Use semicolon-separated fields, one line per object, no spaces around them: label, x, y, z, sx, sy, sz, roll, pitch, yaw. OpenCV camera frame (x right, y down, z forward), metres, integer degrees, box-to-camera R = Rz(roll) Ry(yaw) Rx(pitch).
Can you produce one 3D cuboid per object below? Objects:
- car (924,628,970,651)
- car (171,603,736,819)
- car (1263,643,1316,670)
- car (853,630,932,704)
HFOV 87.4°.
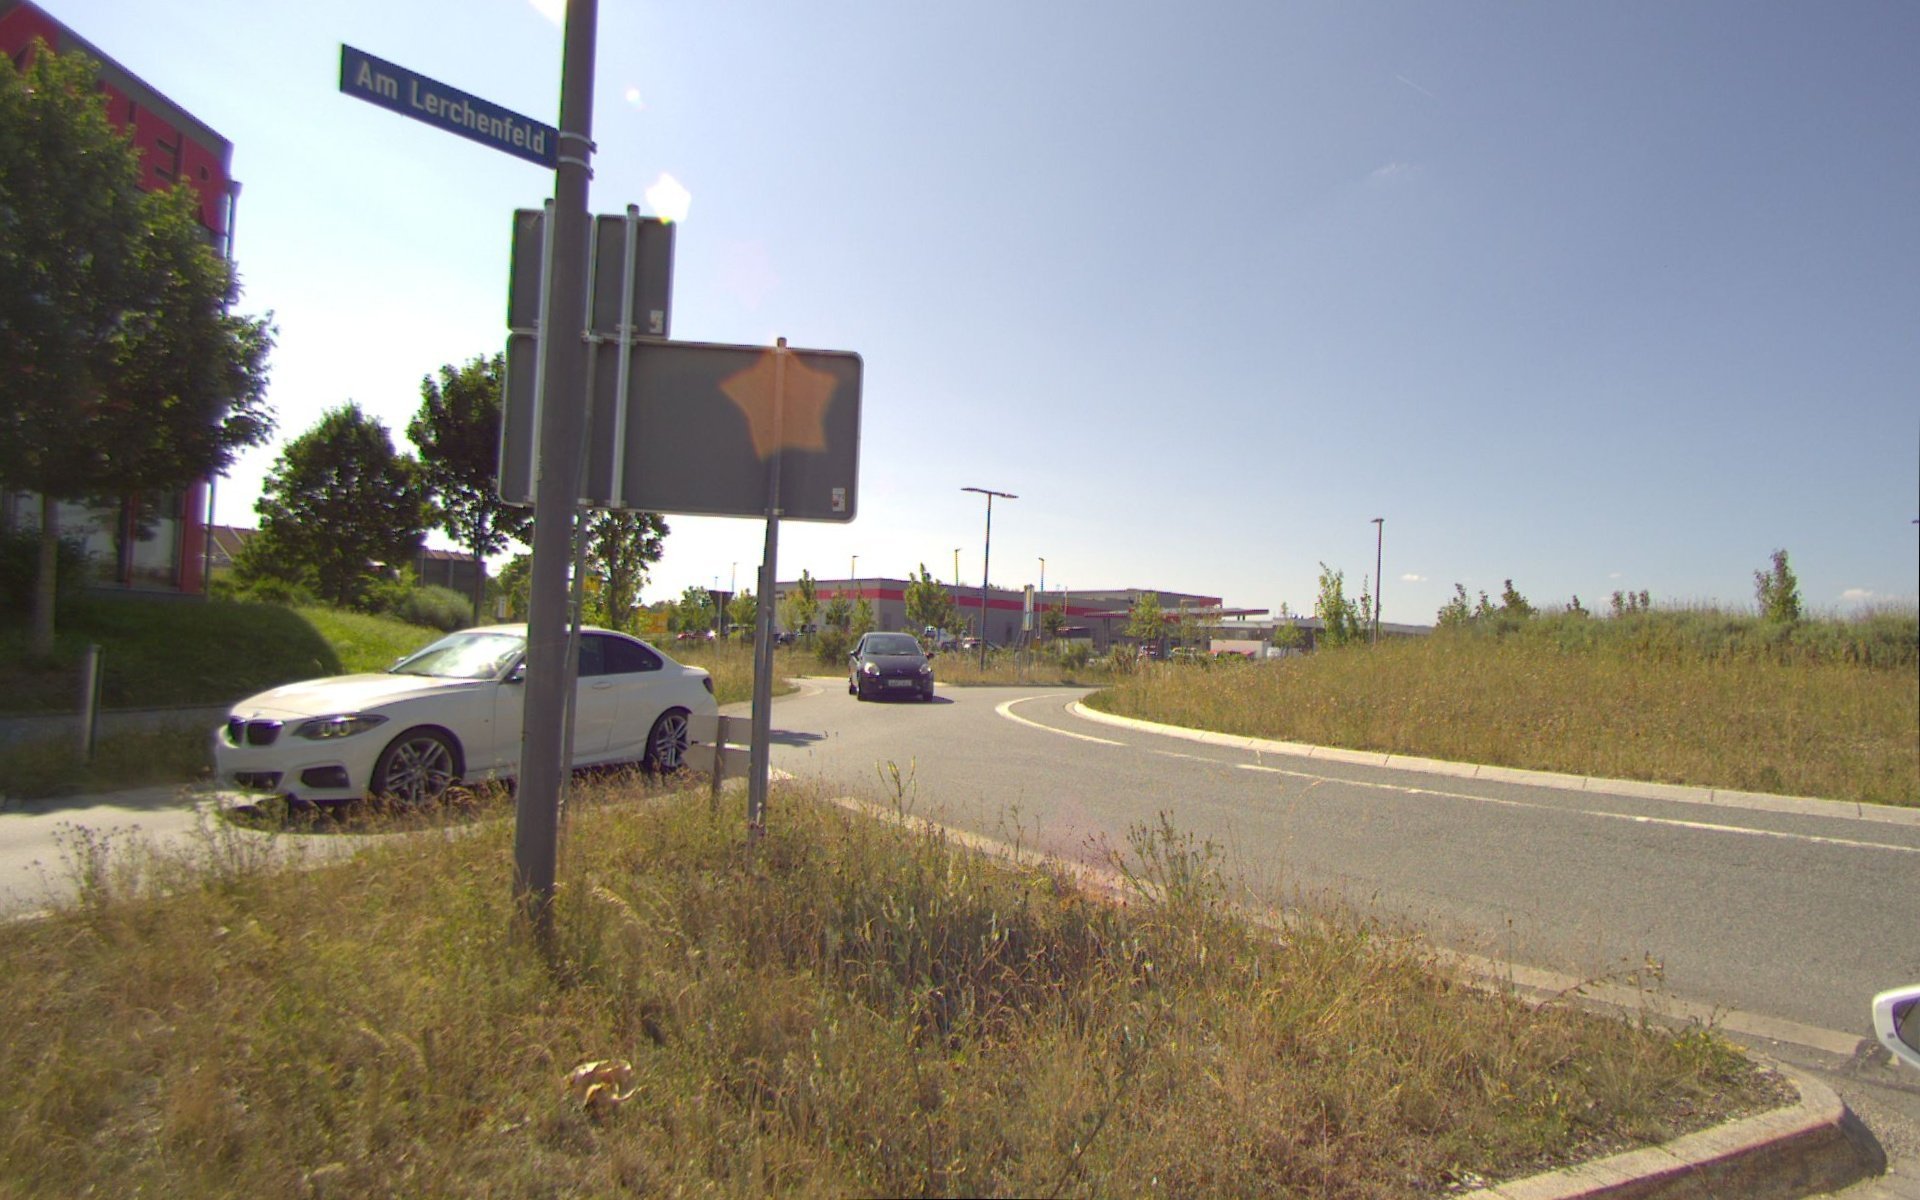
car;-1.234;3.738;94.539;3.972;2.040;1.975;4;-3;-43
car;-4.101;0.895;9.048;1.763;1.434;4.380;-2;-4;25
car;27.616;4.768;84.134;5.099;2.040;1.975;5;-3;-42
car;-1.454;1.485;22.848;1.613;1.507;3.905;1;-3;-1
